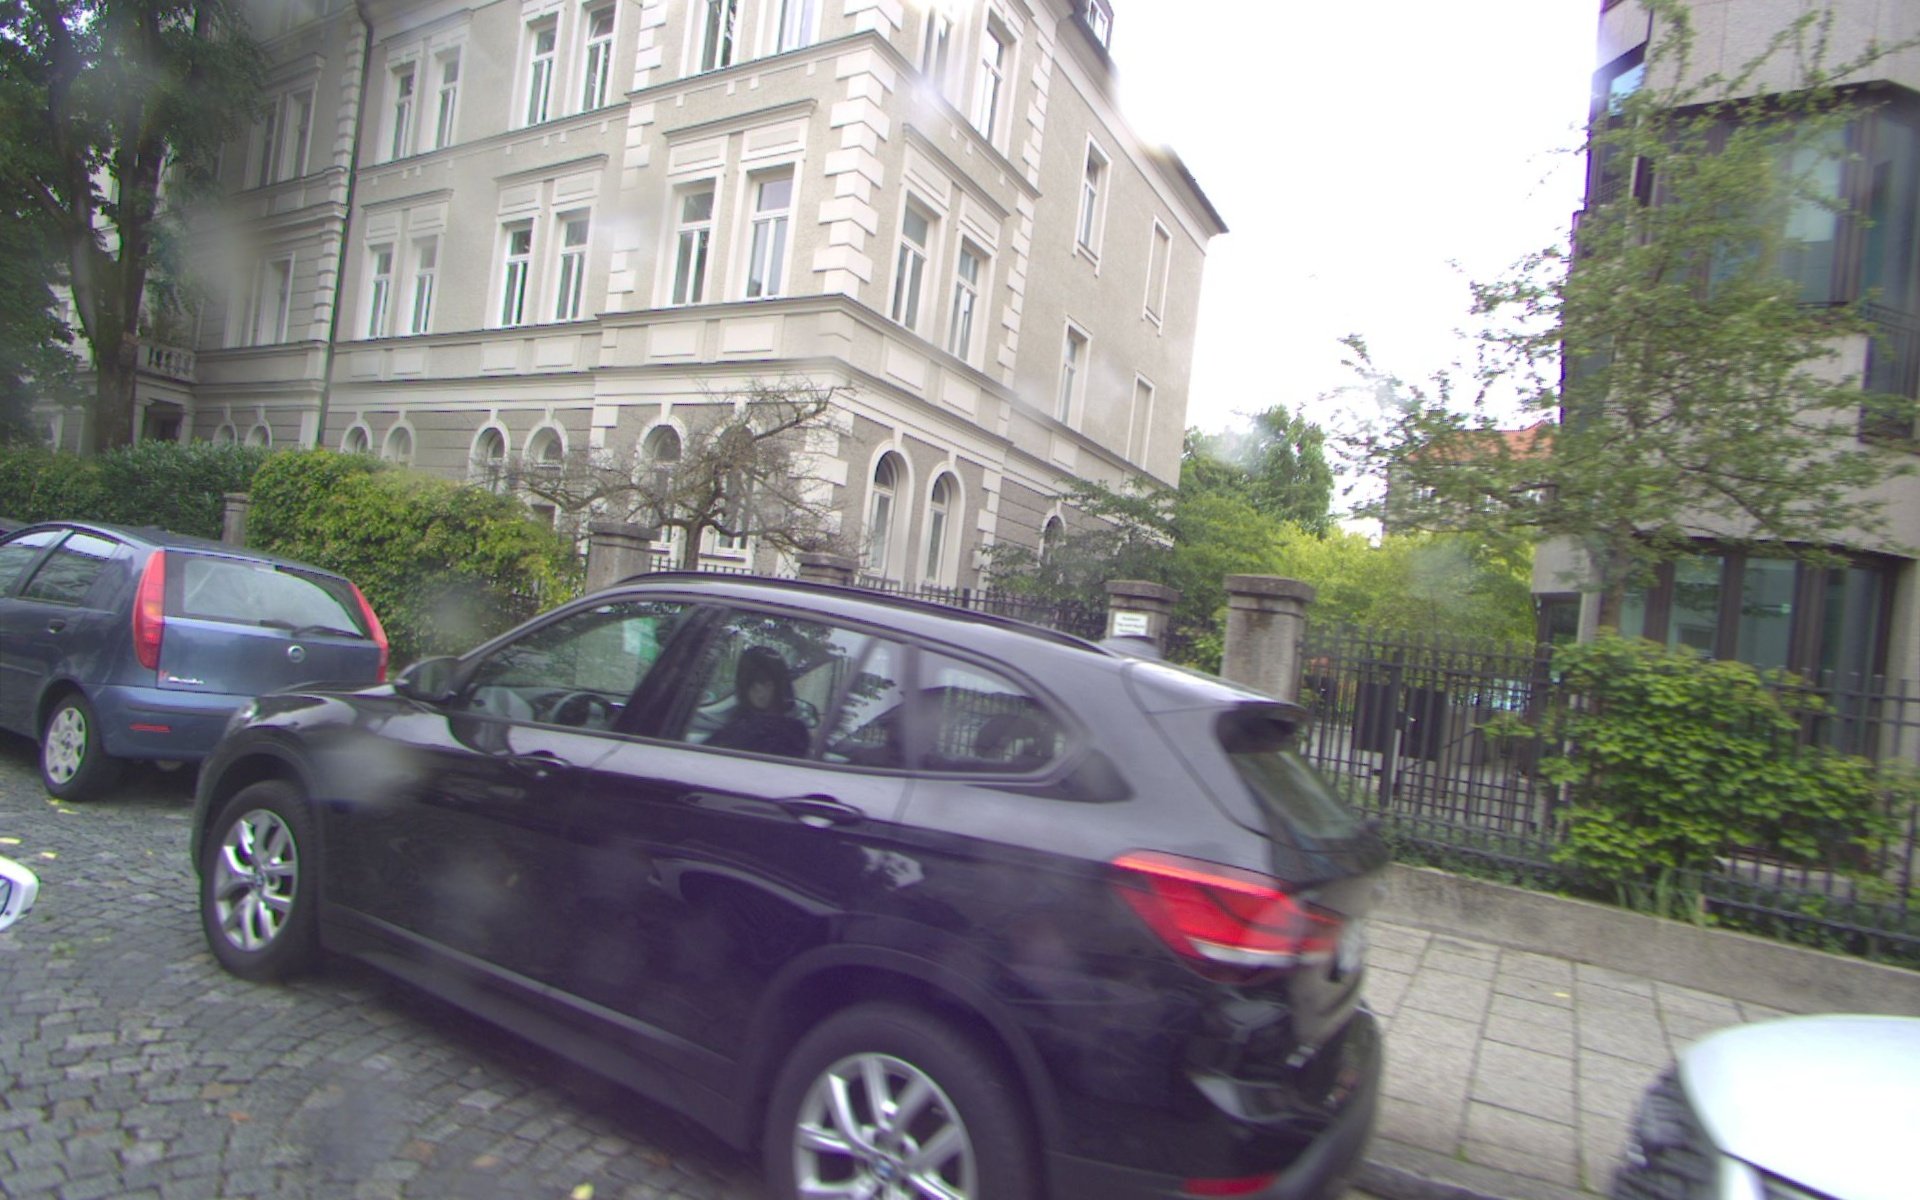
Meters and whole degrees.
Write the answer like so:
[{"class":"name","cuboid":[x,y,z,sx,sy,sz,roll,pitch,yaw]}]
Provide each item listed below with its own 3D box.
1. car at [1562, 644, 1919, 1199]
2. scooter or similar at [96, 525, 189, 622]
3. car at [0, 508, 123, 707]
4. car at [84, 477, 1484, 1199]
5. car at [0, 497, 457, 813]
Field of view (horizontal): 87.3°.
[{"class":"car","cuboid":[3.170,1.154,0.809,4.542,1.506,1.878,7,-4,34]},{"class":"scooter or similar","cuboid":[-11.793,-0.381,14.507,1.223,1.251,0.415,7,3,20]},{"class":"car","cuboid":[-9.246,-0.174,8.621,4.197,1.488,1.719,6,-4,31]},{"class":"car","cuboid":[-0.877,0.690,3.533,4.580,1.687,1.879,6,-4,32]},{"class":"car","cuboid":[-5.459,0.216,6.581,3.990,1.455,1.701,7,-4,27]}]
